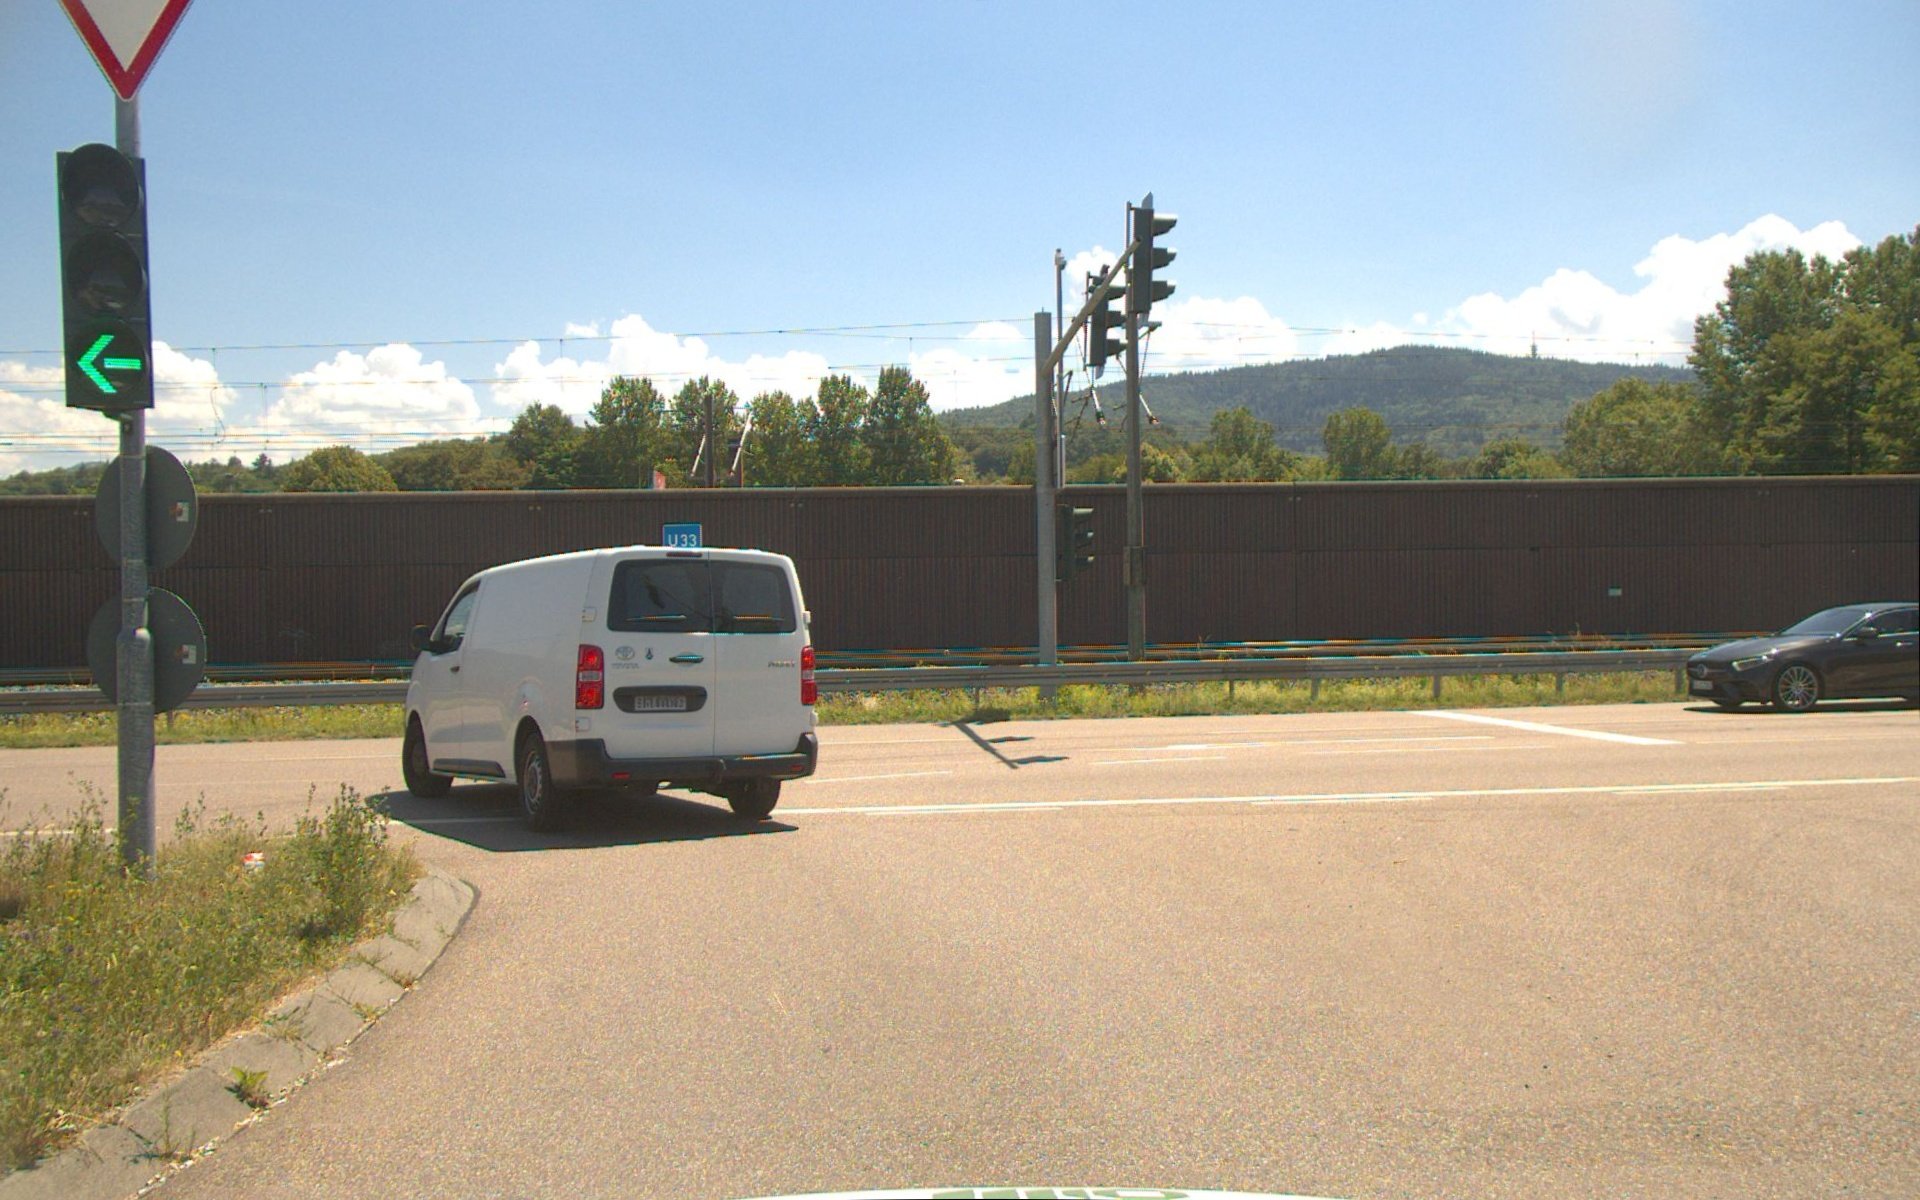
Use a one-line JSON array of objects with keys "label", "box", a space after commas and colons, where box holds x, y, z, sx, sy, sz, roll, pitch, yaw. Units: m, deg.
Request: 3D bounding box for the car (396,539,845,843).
[{"label": "car", "box": [-2.873, 0.644, 12.989, 1.927, 1.915, 4.827, 1, -2, -32]}]

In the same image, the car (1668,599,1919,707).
[{"label": "car", "box": [12.587, 0.713, 23.157, 4.542, 1.388, 1.911, -1, -1, -5]}]
